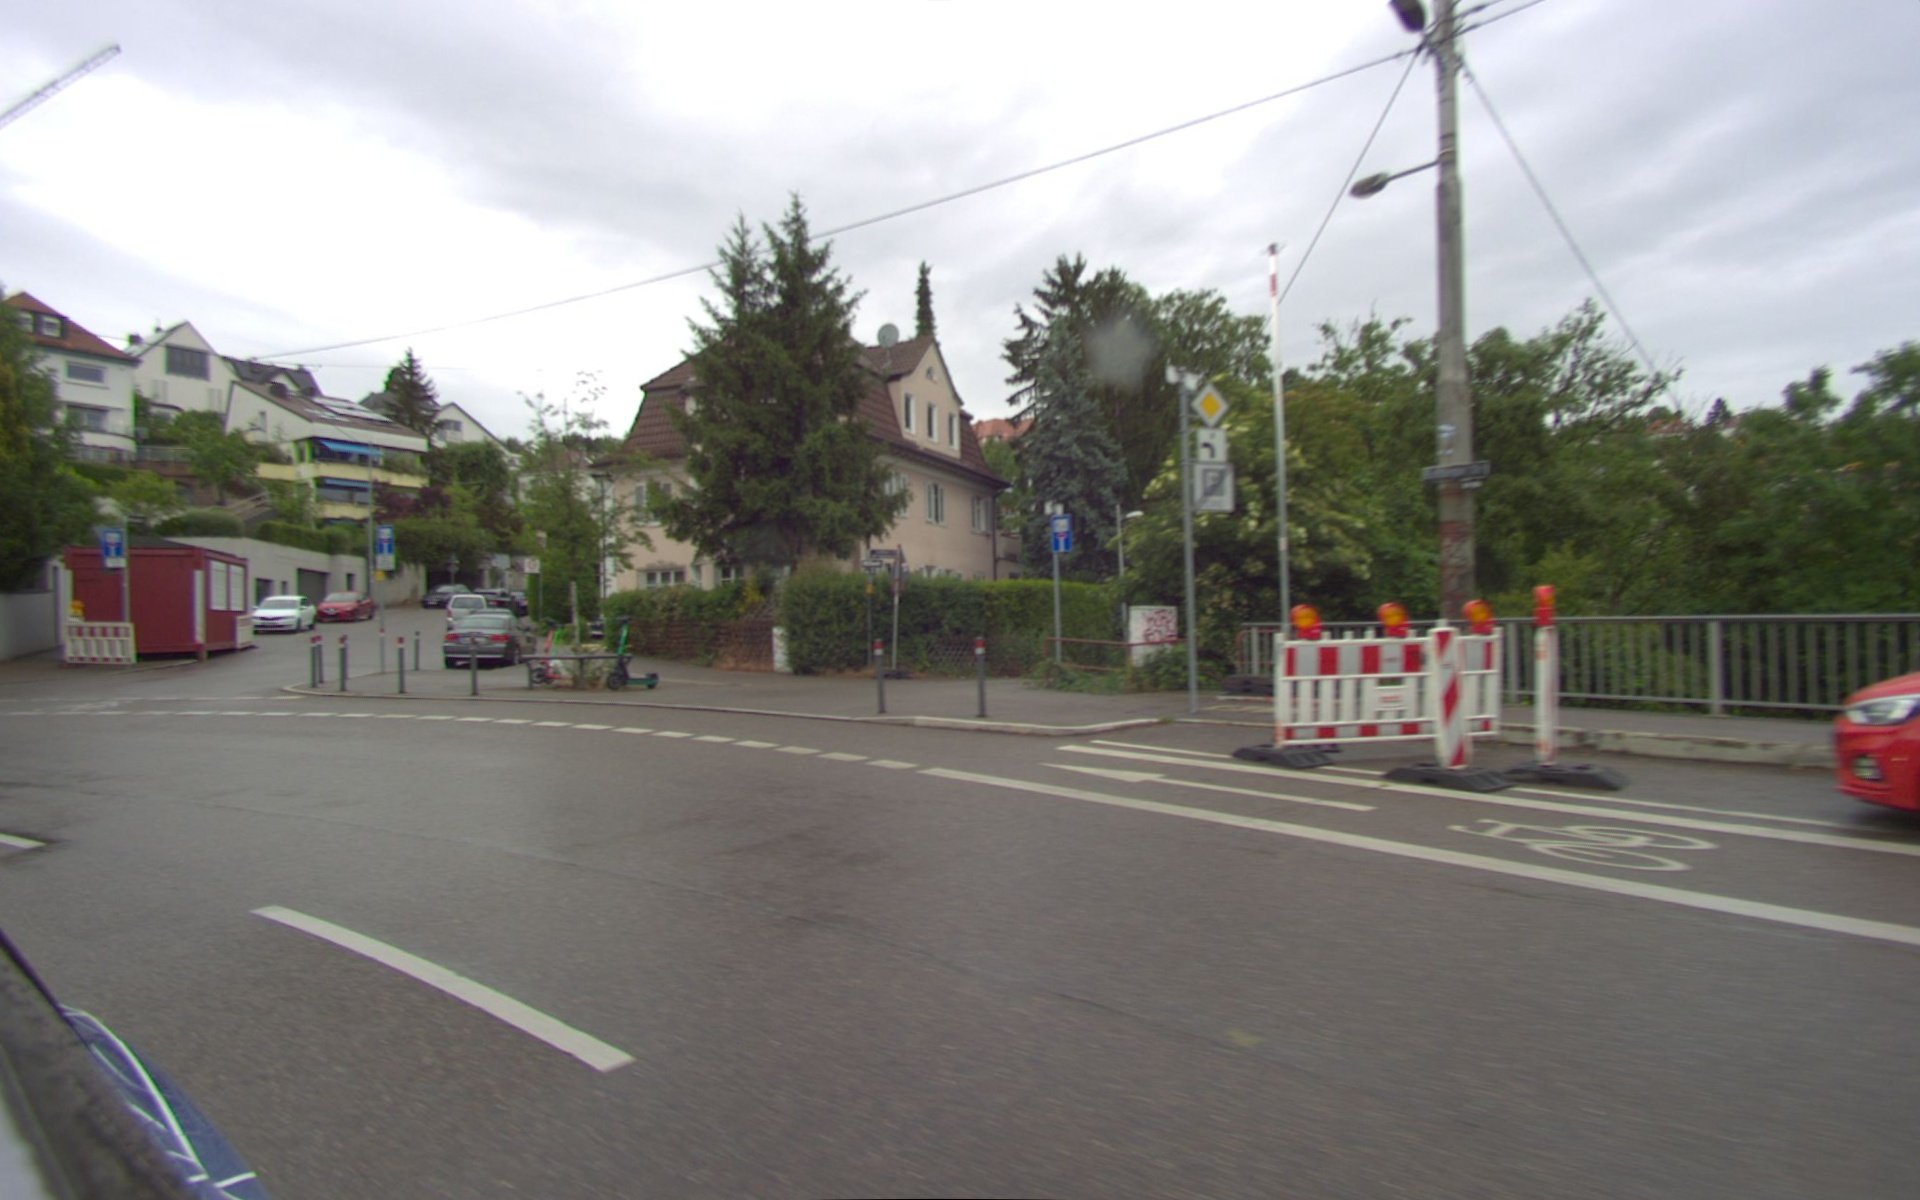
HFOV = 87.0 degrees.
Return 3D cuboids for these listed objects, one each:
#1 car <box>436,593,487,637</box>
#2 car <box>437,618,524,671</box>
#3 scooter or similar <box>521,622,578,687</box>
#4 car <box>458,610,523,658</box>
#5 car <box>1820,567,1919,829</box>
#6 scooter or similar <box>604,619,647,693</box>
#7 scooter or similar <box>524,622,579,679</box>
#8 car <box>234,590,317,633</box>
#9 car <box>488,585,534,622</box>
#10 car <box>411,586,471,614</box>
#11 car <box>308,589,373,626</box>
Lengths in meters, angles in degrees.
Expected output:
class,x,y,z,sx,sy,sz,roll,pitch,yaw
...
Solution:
class,x,y,z,sx,sy,sz,roll,pitch,yaw
car,-21.087,0.606,42.898,1.842,1.674,4.014,1,1,-25
car,-12.879,1.142,27.375,1.646,1.276,4.217,0,0,-19
scooter or similar,-7.768,1.017,19.160,0.243,1.173,1.023,-1,-1,38
car,-15.138,1.028,32.503,1.646,1.413,4.217,0,0,-28
car,6.866,0.515,4.718,1.664,1.408,4.143,0,0,-41
scooter or similar,-5.751,0.945,17.430,0.241,1.227,1.033,0,0,11
scooter or similar,-8.036,0.984,19.927,0.243,1.077,1.023,-1,-1,40
car,-28.287,0.450,41.956,1.965,1.674,4.013,1,0,-21
car,-22.732,0.145,51.162,1.965,1.718,4.014,1,1,-26
car,-32.224,-0.019,62.917,1.854,1.504,4.005,-4,2,-5
car,-30.364,0.413,49.732,1.843,1.675,4.012,1,-3,-18
